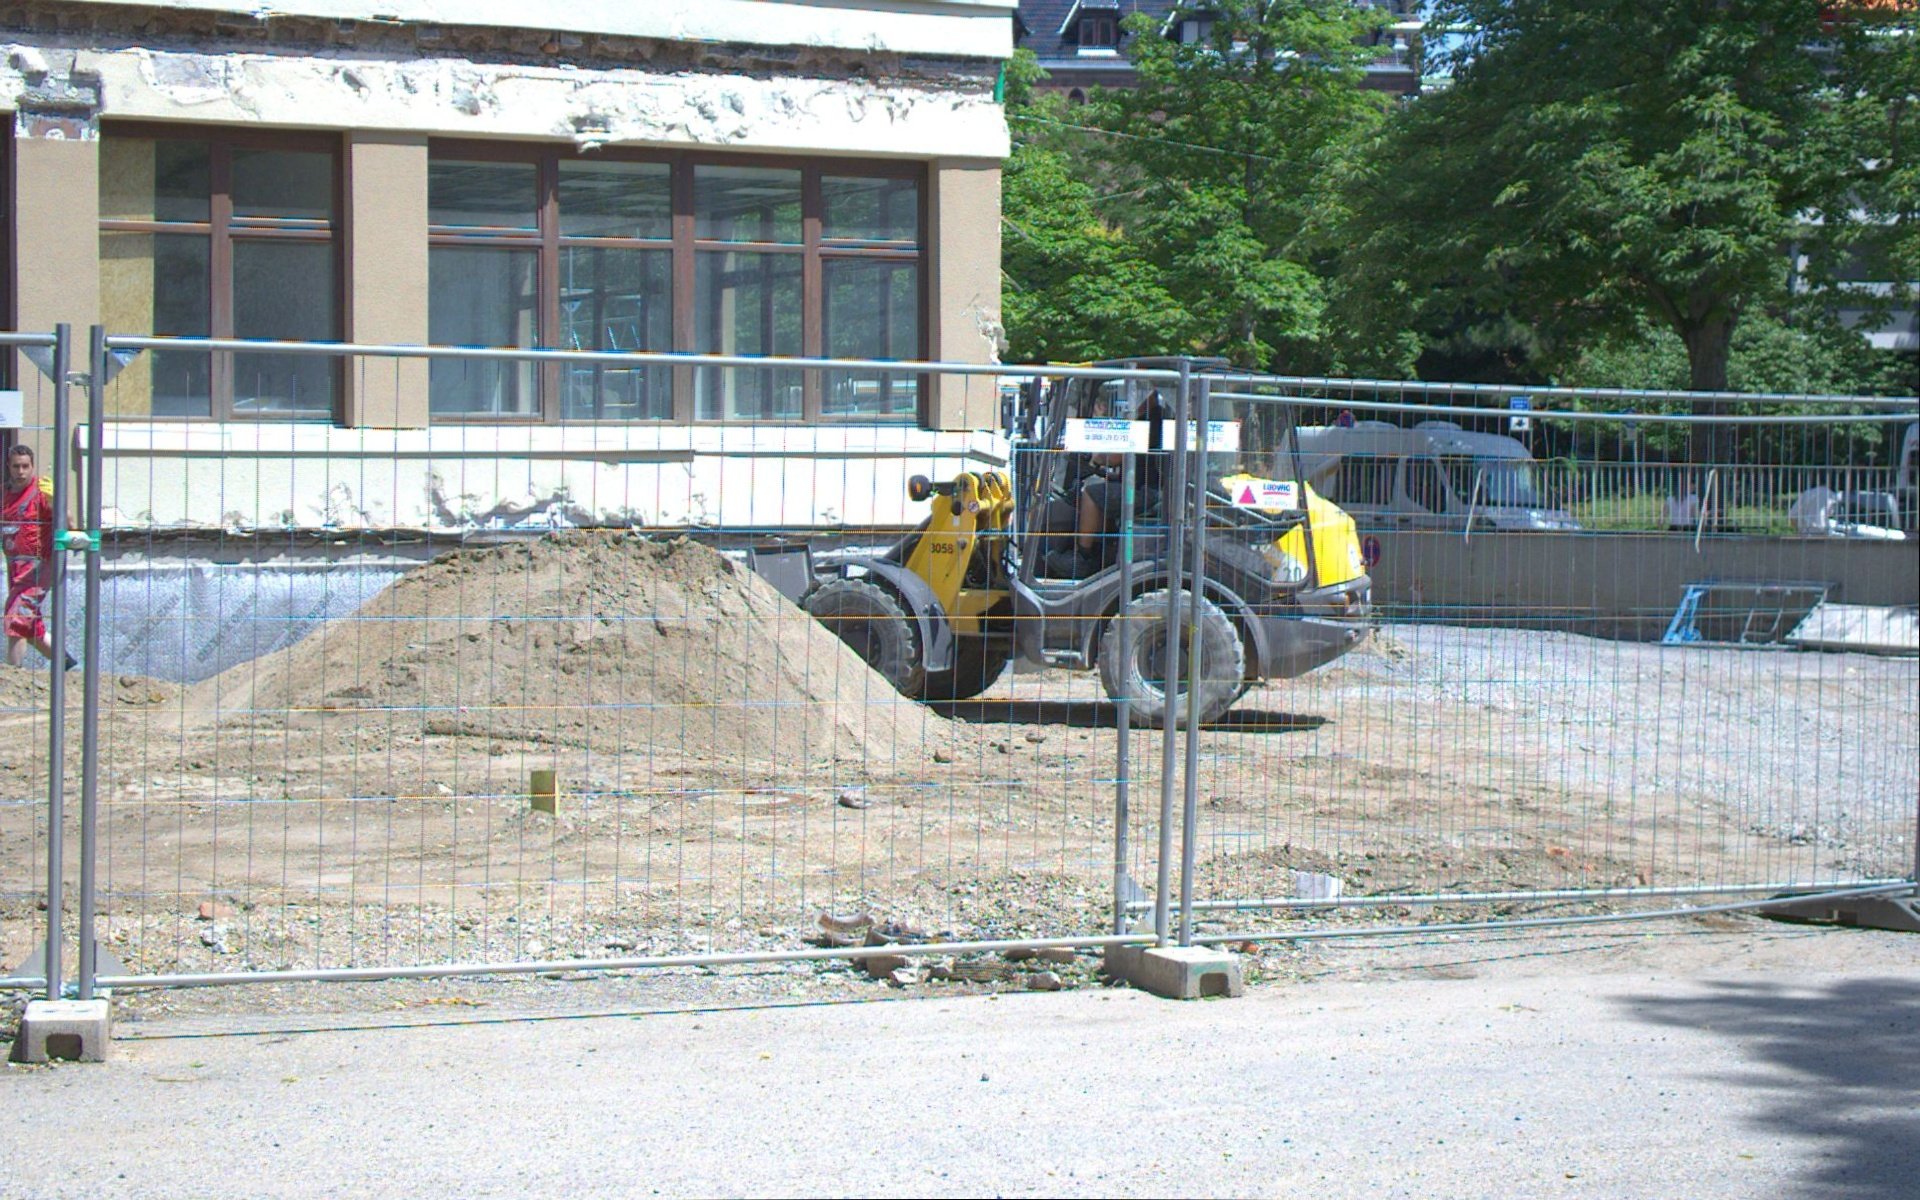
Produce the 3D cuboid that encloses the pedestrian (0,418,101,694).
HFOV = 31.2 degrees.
[{"bbox_3d":[-6.444,-0.308,23.442,0.983,1.840,0.917,-1,2,-24],"label":"pedestrian"}]

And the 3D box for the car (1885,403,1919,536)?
[{"bbox_3d":[17.627,-2.276,60.454,2.186,2.250,4.864,1,2,20],"label":"car"}]

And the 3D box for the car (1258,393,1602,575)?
[{"bbox_3d":[6.524,-1.619,48.332,1.993,2.408,5.244,-1,2,-30],"label":"car"}]

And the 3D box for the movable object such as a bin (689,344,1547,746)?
[{"bbox_3d":[1.118,-0.446,23.691,5.408,2.455,2.366,2,2,18],"label":"movable object such as a bin"}]
